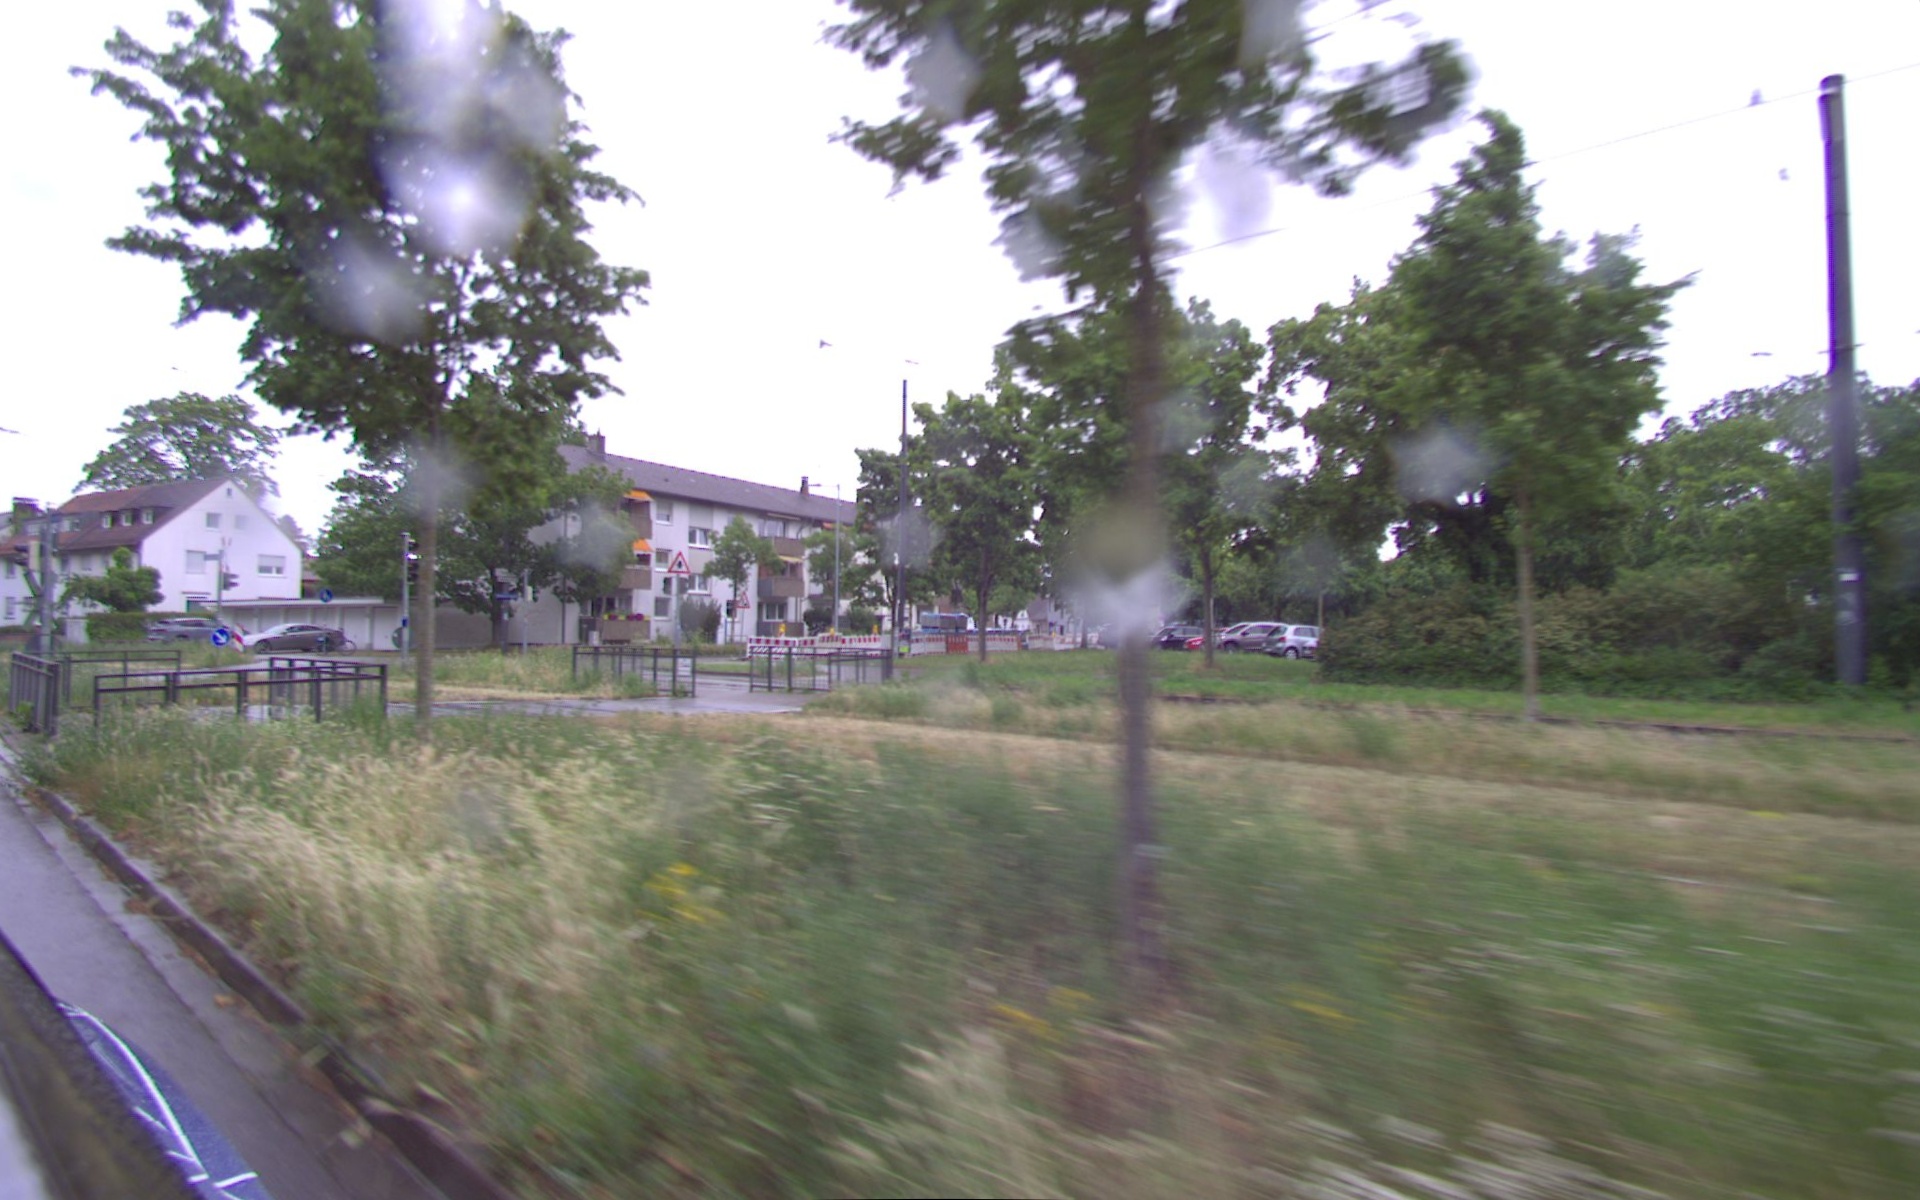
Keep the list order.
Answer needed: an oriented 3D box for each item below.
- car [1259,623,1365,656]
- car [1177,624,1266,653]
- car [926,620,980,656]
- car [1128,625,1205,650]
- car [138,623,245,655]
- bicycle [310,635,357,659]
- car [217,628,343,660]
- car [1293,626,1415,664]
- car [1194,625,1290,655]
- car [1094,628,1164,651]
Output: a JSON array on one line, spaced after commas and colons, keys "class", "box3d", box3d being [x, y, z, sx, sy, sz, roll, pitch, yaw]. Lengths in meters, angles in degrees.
[{"class": "car", "box3d": [14.120, 1.597, 40.663, 3.681, 1.258, 1.669, 1, -2, -10]}, {"class": "car", "box3d": [12.187, 1.798, 47.253, 3.681, 1.258, 1.669, 1, -2, -10]}, {"class": "car", "box3d": [-0.453, 2.658, 70.503, 1.908, 2.465, 4.428, -1, -3, 28]}, {"class": "car", "box3d": [11.153, 2.021, 54.685, 3.681, 1.258, 1.669, 1, -2, -10]}, {"class": "car", "box3d": [-39.389, 1.997, 51.963, 1.883, 1.588, 3.963, -1, -2, 27]}, {"class": "bicycle", "box3d": [-27.552, 2.059, 44.494, 1.818, 1.027, 0.481, -1, 1, 4]}, {"class": "car", "box3d": [-32.193, 2.042, 48.054, 1.841, 1.376, 4.692, -1, -1, 30]}, {"class": "car", "box3d": [13.858, 1.594, 35.680, 3.680, 1.258, 1.669, 1, -2, -13]}, {"class": "car", "box3d": [12.406, 1.754, 44.610, 3.681, 1.258, 1.669, 1, -2, -10]}, {"class": "car", "box3d": [9.874, 2.304, 59.267, 3.681, 1.258, 1.669, 1, -2, -10]}]
